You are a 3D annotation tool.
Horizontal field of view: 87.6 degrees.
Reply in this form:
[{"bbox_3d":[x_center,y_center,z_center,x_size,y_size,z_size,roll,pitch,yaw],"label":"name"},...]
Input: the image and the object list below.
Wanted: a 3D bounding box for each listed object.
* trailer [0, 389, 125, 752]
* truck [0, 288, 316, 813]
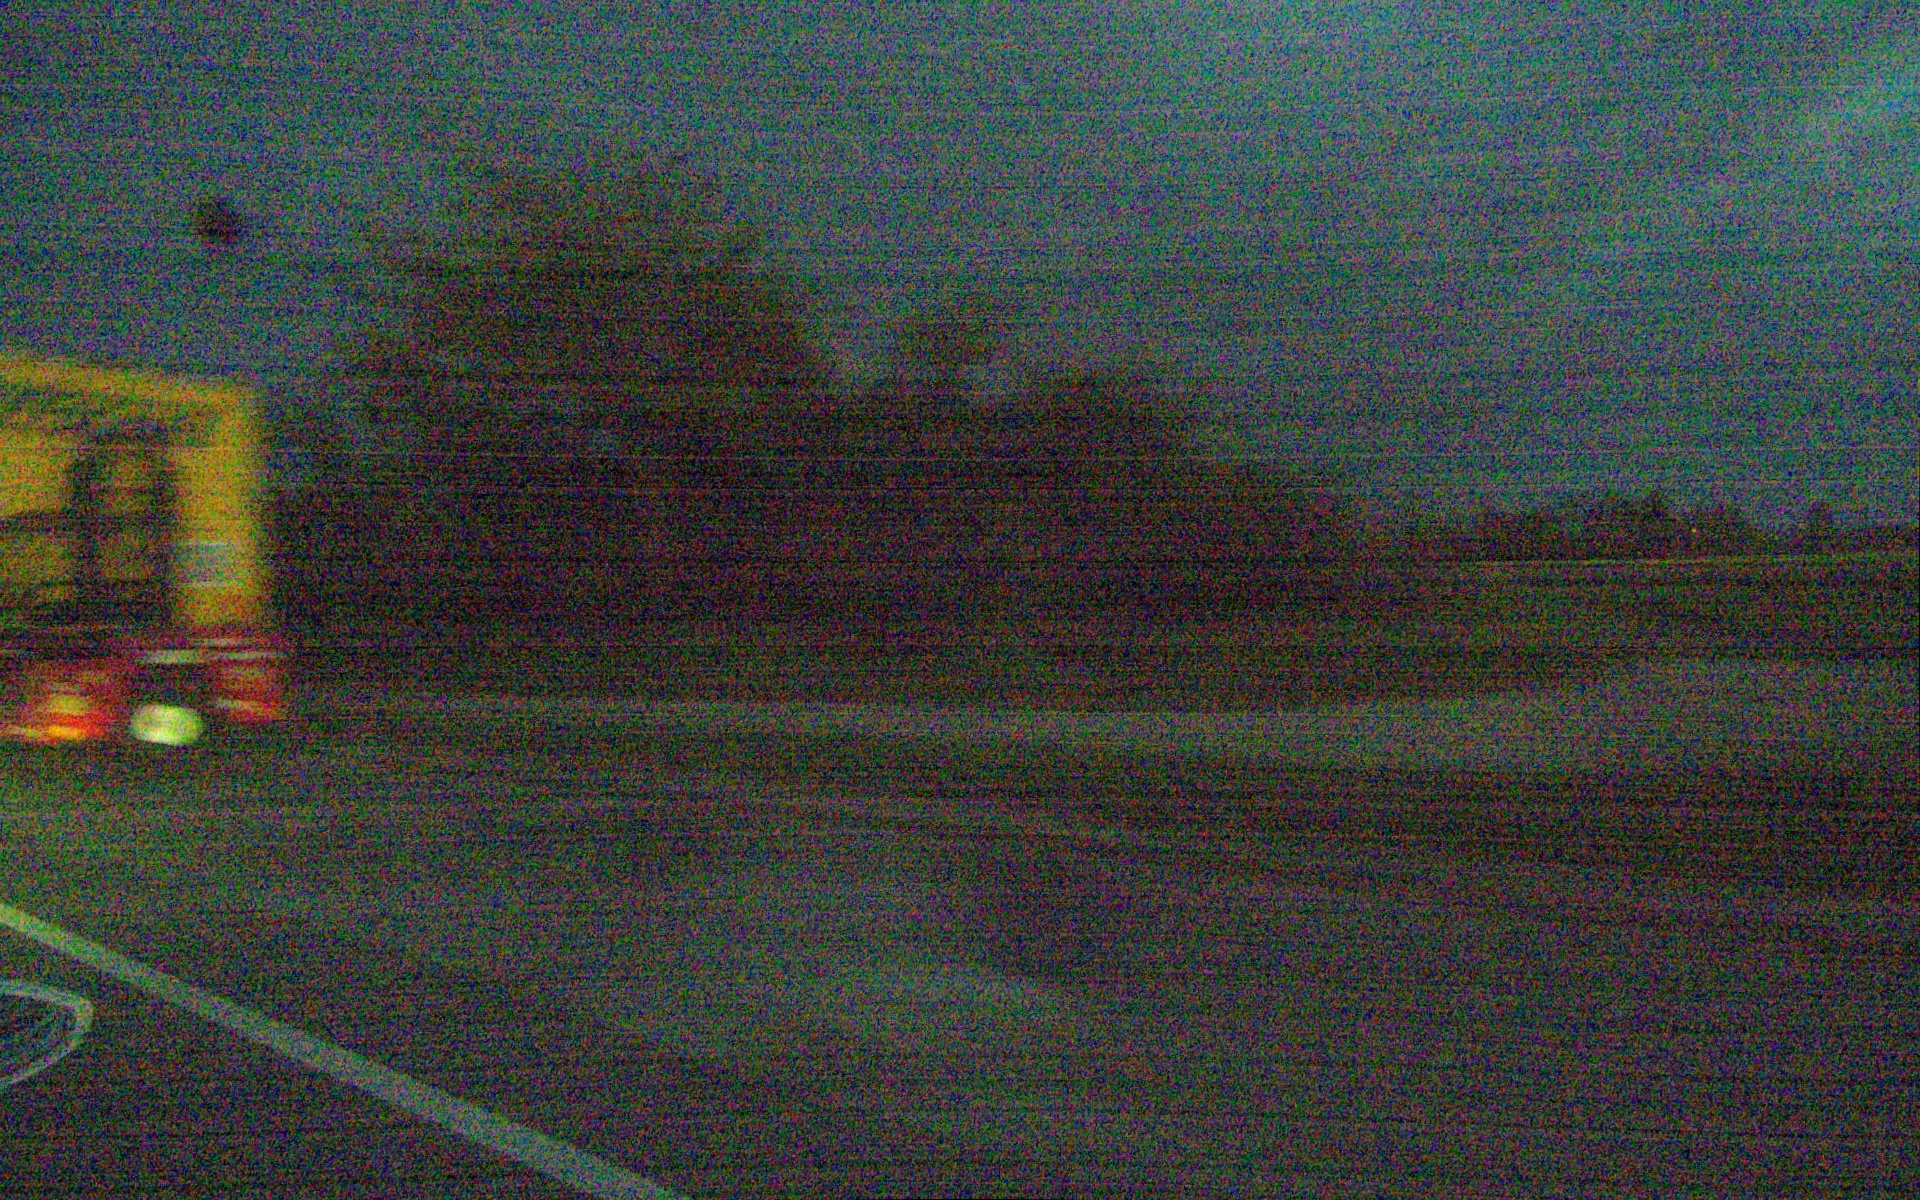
[{"bbox_3d":[-16.474,-0.243,14.763,12.753,4.158,2.616,-1,0,33],"label":"trailer"},{"bbox_3d":[-9.564,-0.346,10.330,6.041,4.124,2.575,0,-1,32],"label":"truck"}]
